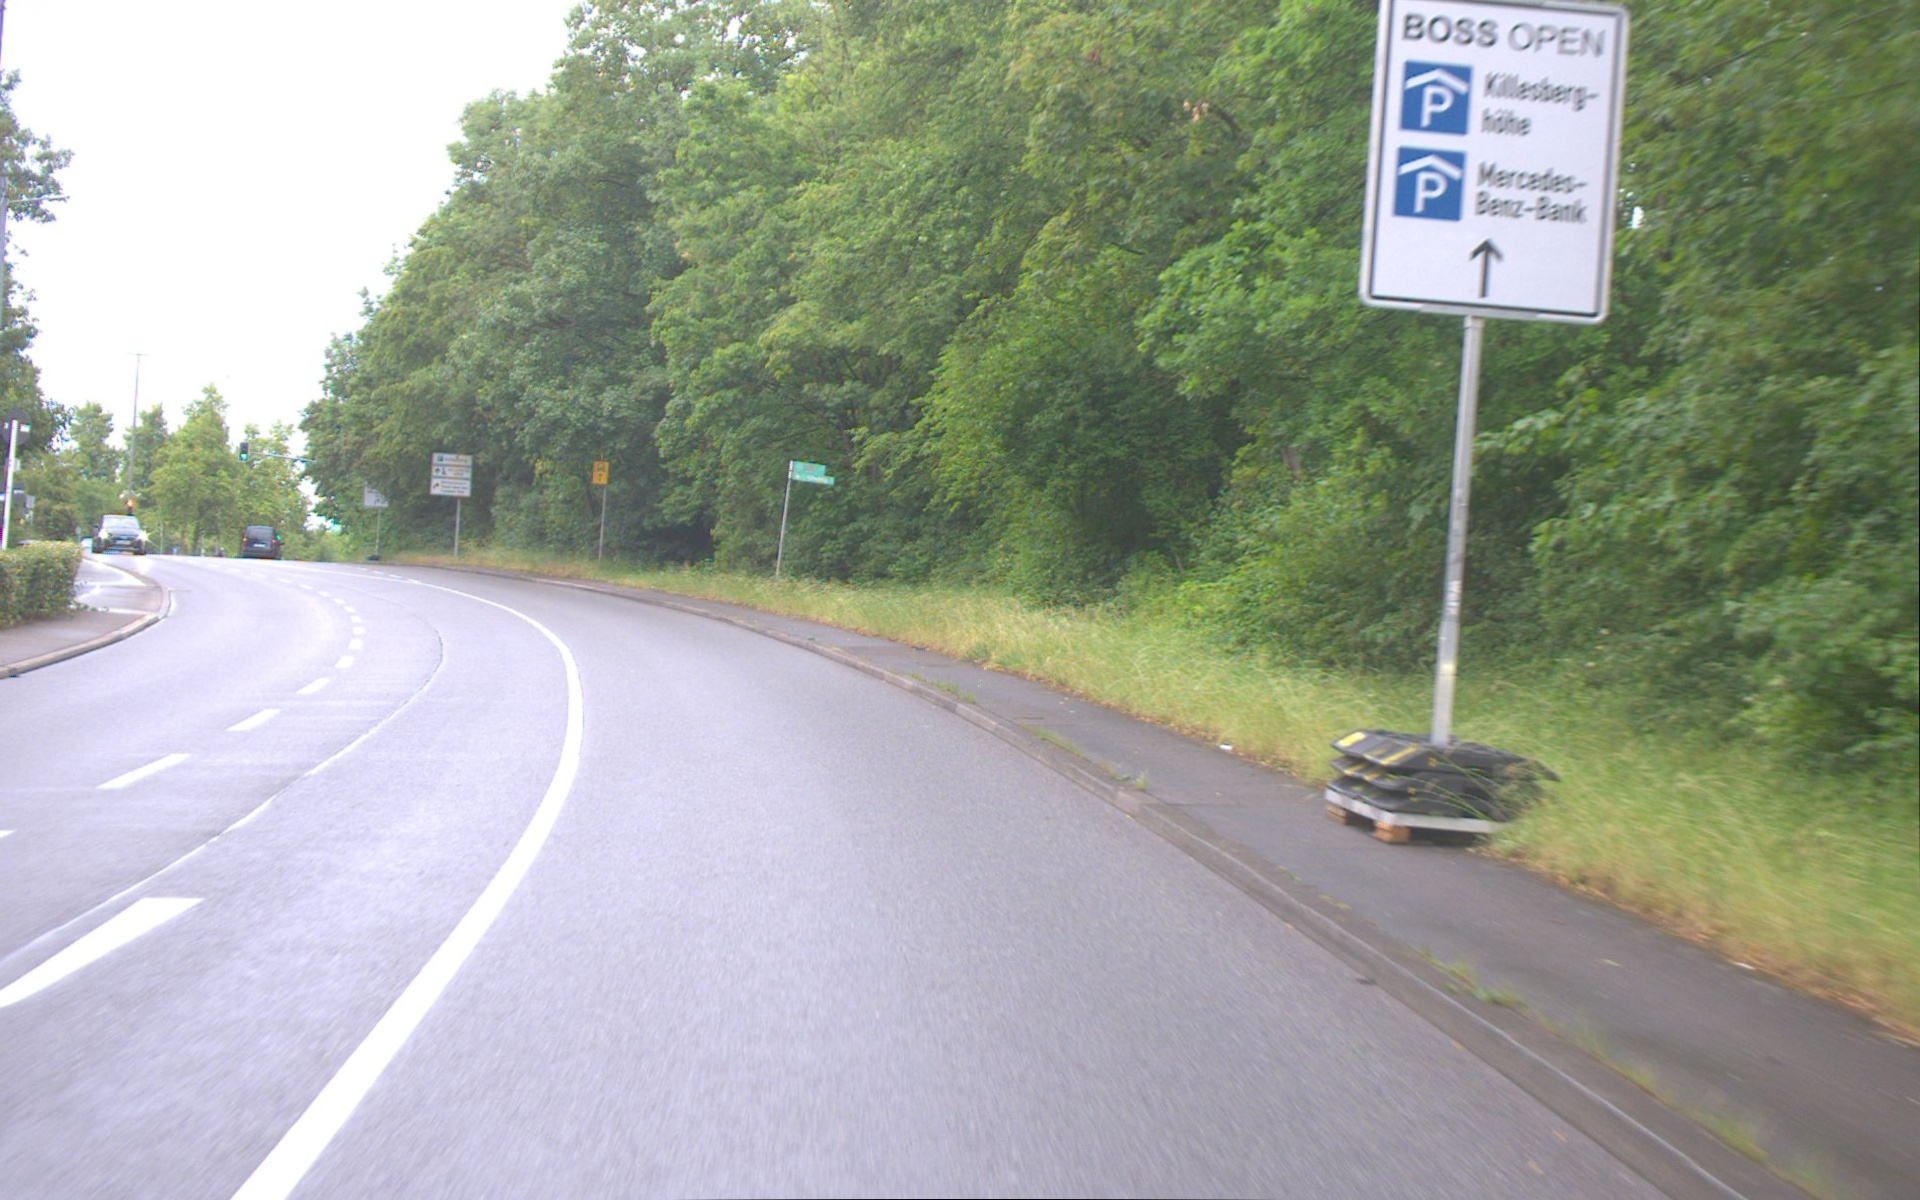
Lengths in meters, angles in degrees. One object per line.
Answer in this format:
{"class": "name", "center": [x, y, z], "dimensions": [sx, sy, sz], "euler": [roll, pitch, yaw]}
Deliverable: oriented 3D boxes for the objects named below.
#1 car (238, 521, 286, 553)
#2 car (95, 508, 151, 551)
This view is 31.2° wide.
{"class": "car", "center": [-34.240, -3.121, 168.712], "dimensions": [1.934, 1.493, 4.319], "euler": [2, 1, -7]}
{"class": "car", "center": [-30.953, -2.627, 127.023], "dimensions": [1.934, 1.493, 4.319], "euler": [1, 1, -14]}
